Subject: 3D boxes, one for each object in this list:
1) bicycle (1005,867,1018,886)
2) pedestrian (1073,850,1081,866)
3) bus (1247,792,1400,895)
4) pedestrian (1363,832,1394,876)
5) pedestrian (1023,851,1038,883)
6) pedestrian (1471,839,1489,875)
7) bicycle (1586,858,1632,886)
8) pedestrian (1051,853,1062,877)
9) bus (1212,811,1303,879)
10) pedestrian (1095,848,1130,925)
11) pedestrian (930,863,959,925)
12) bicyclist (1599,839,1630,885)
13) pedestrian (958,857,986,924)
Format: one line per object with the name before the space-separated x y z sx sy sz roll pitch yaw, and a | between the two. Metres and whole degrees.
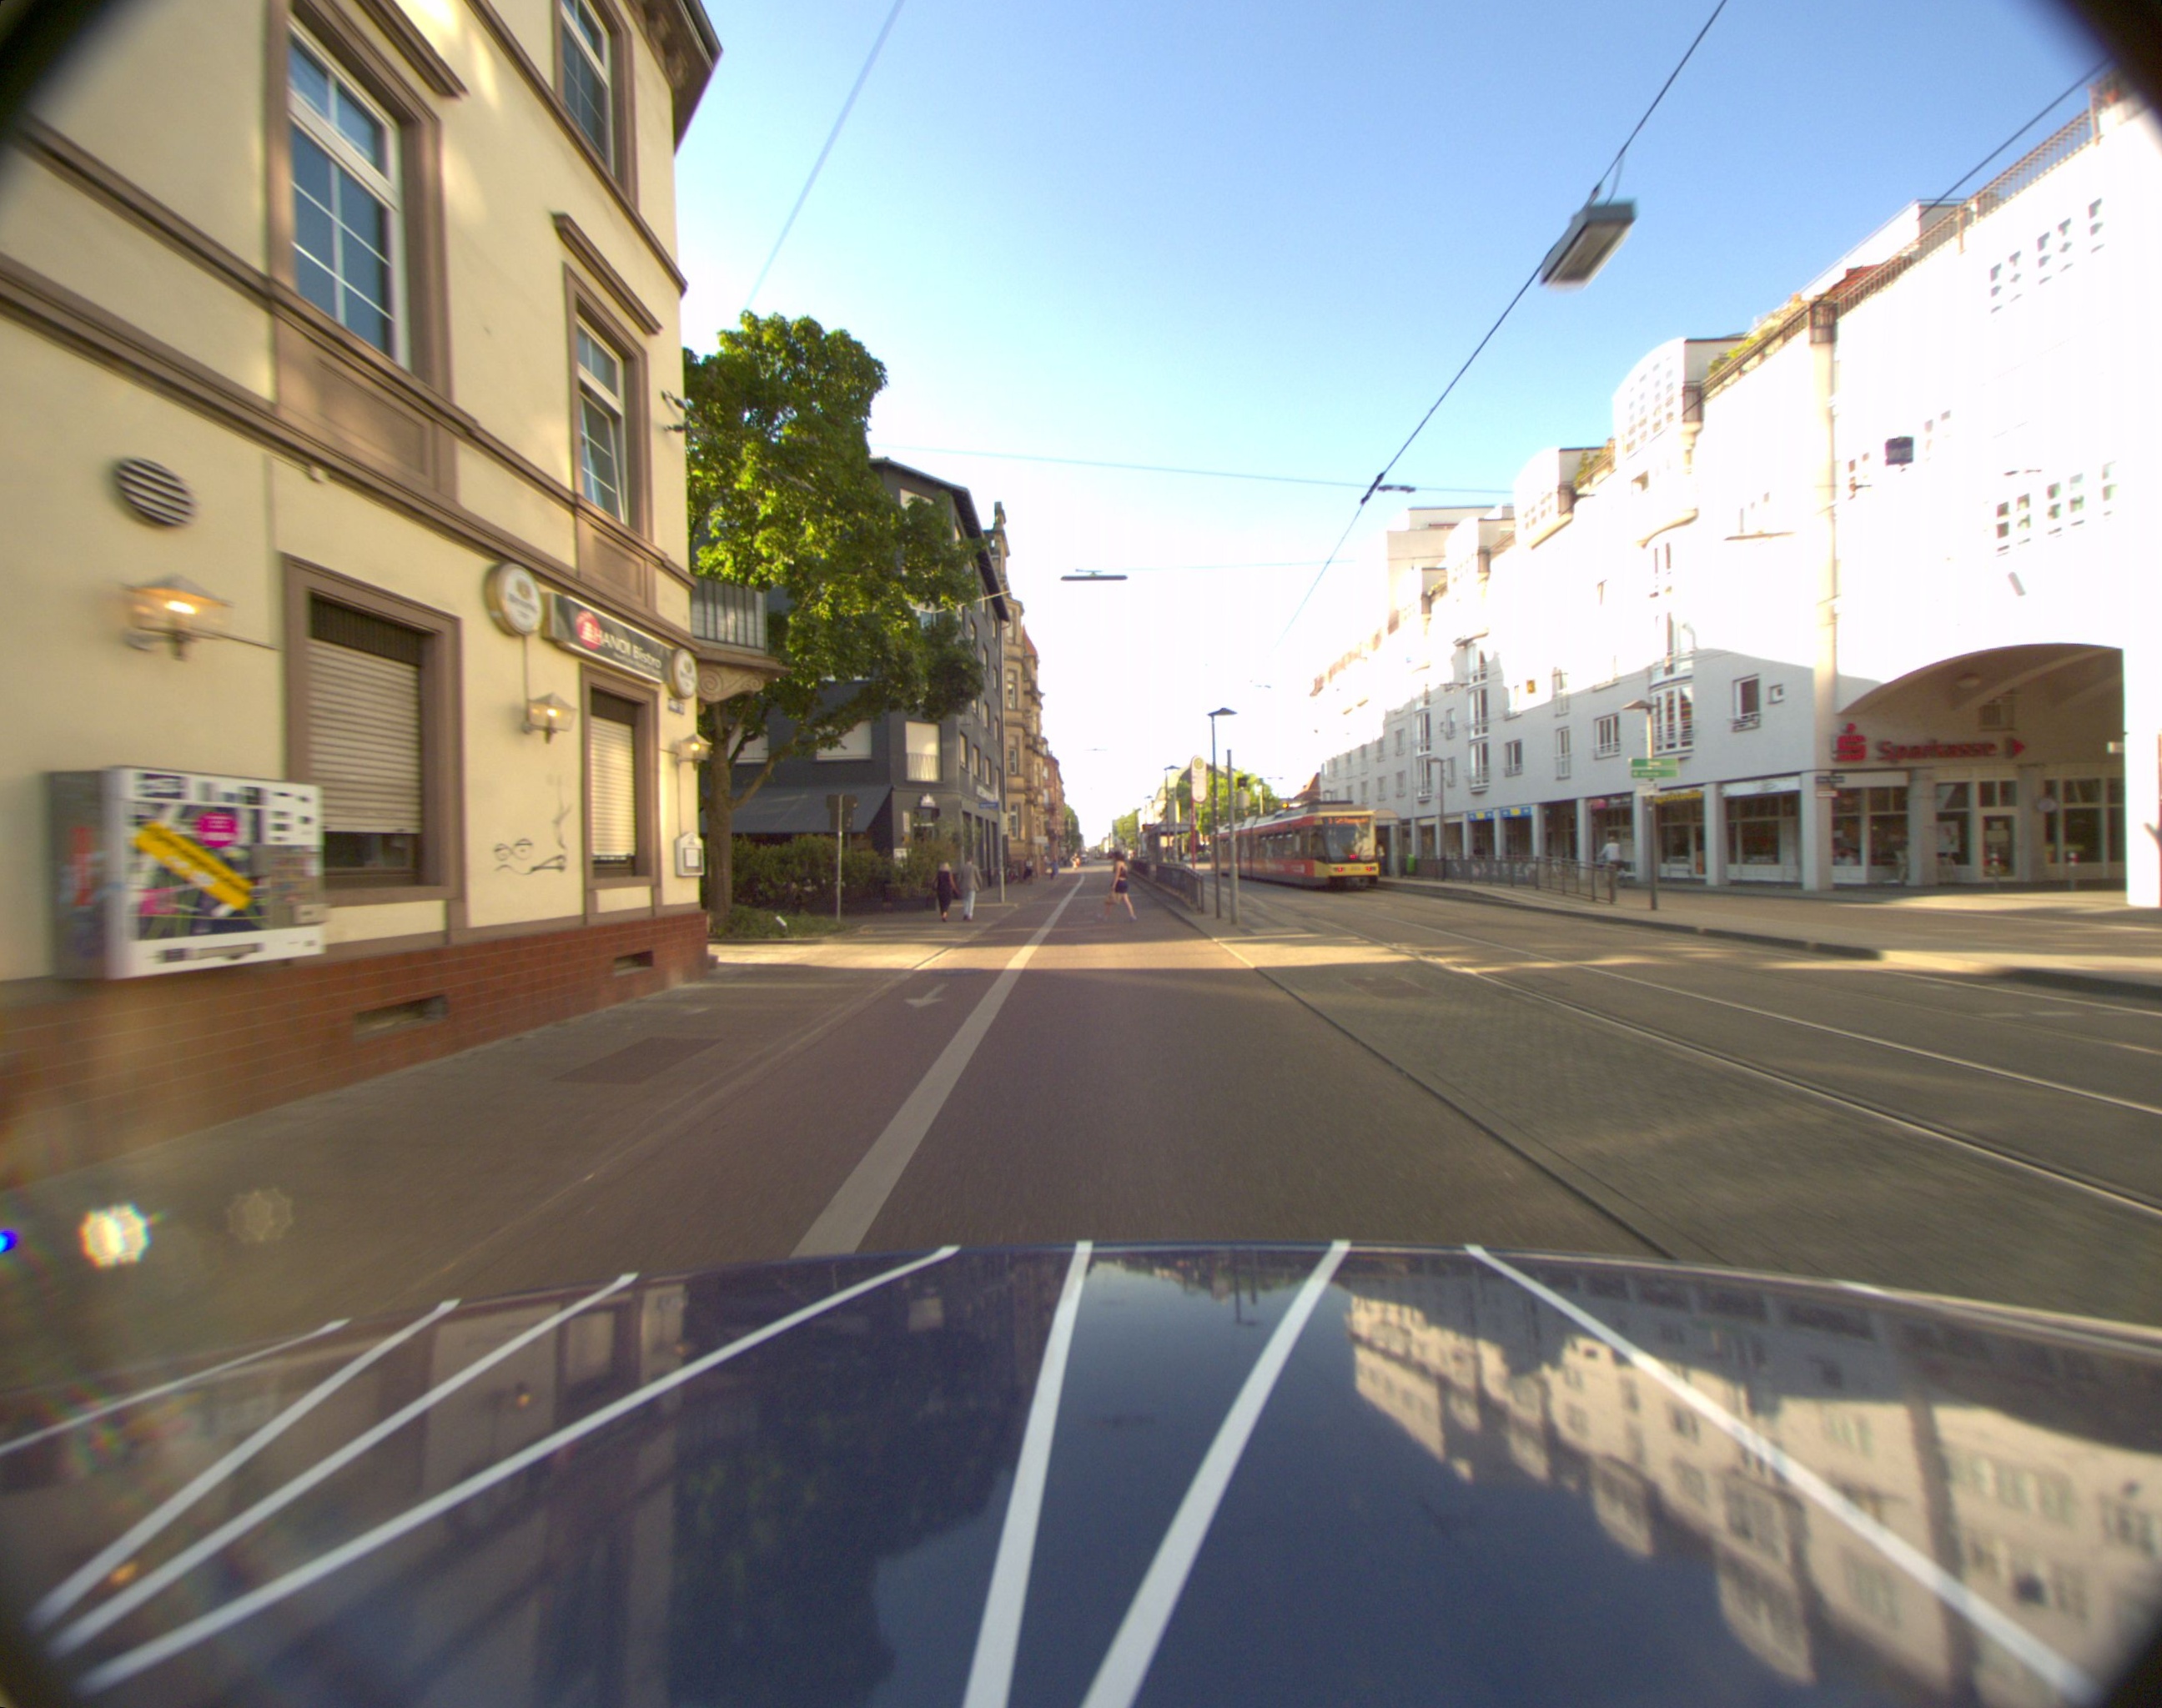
bicycle | -3.753 1.213 40.983 0.389 0.907 1.851 -3 1 2
pedestrian | -0.451 0.406 83.201 0.694 1.760 0.697 -2 1 6
bus | 10.076 -0.404 33.704 2.818 3.547 13.679 -2 0 2
pedestrian | 12.556 -0.006 32.048 0.918 1.822 0.977 -2 1 3
pedestrian | -2.861 0.732 43.193 0.650 1.760 0.697 -2 1 6
pedestrian | 19.212 0.140 36.591 0.533 1.706 0.706 -2 1 3
bicycle | 19.841 0.674 28.589 0.518 0.983 1.727 -3 1 2
pedestrian | -1.806 0.843 56.777 0.694 1.760 0.697 -2 1 6
bus | 10.556 -0.510 47.137 2.818 3.547 13.679 -2 0 2
pedestrian | 0.773 0.753 18.175 0.761 1.789 0.808 -2 1 4
pedestrian | -3.561 1.024 19.880 0.651 1.569 0.682 -2 1 -6
bicyclist | 19.795 0.291 28.188 0.514 1.690 0.807 -3 1 2
pedestrian | -2.870 0.940 20.078 0.651 1.706 0.805 -2 1 -6
